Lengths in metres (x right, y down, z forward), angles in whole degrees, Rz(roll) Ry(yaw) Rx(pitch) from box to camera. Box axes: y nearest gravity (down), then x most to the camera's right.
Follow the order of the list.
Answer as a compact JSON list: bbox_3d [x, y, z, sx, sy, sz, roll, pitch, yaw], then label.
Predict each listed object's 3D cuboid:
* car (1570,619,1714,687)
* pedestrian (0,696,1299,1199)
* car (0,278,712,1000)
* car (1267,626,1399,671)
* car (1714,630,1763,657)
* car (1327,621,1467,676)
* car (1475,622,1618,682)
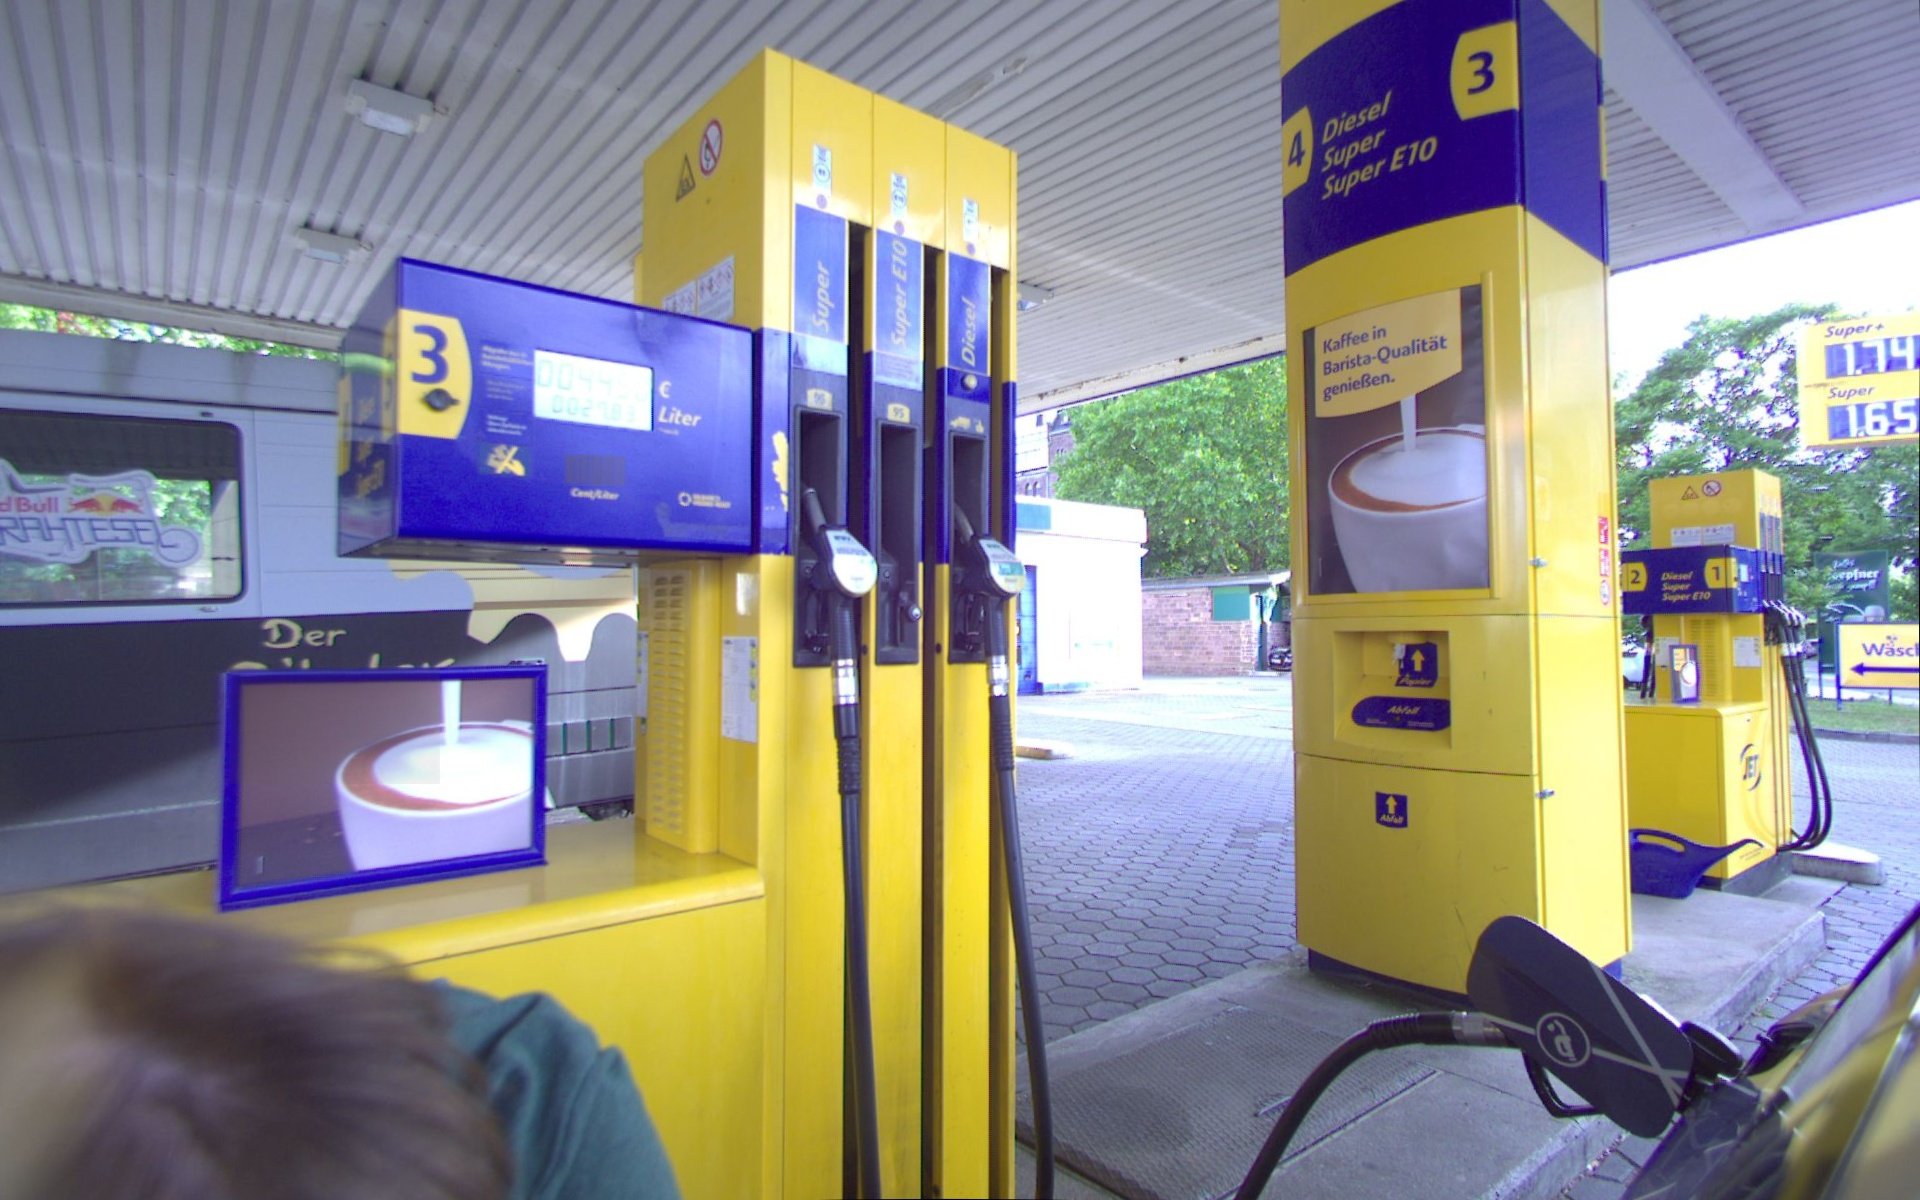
[{"bbox_3d":[18.367,1.449,27.202,4.308,1.622,1.774,4,-4,-35],"label":"car"},{"bbox_3d":[-0.327,0.754,0.548,0.662,1.298,0.751,0,0,-41],"label":"pedestrian"},{"bbox_3d":[-4.101,0.165,4.896,5.197,2.726,2.258,1,-2,-39],"label":"car"},{"bbox_3d":[12.702,1.657,34.428,4.303,1.393,1.777,2,-1,-28],"label":"car"},{"bbox_3d":[46.142,2.550,60.060,1.674,1.491,3.773,0,-2,28],"label":"car"},{"bbox_3d":[13.898,1.534,32.137,4.303,1.622,1.777,2,-1,-28],"label":"car"},{"bbox_3d":[17.857,1.592,30.801,4.303,1.622,1.776,4,-4,-28],"label":"car"}]
